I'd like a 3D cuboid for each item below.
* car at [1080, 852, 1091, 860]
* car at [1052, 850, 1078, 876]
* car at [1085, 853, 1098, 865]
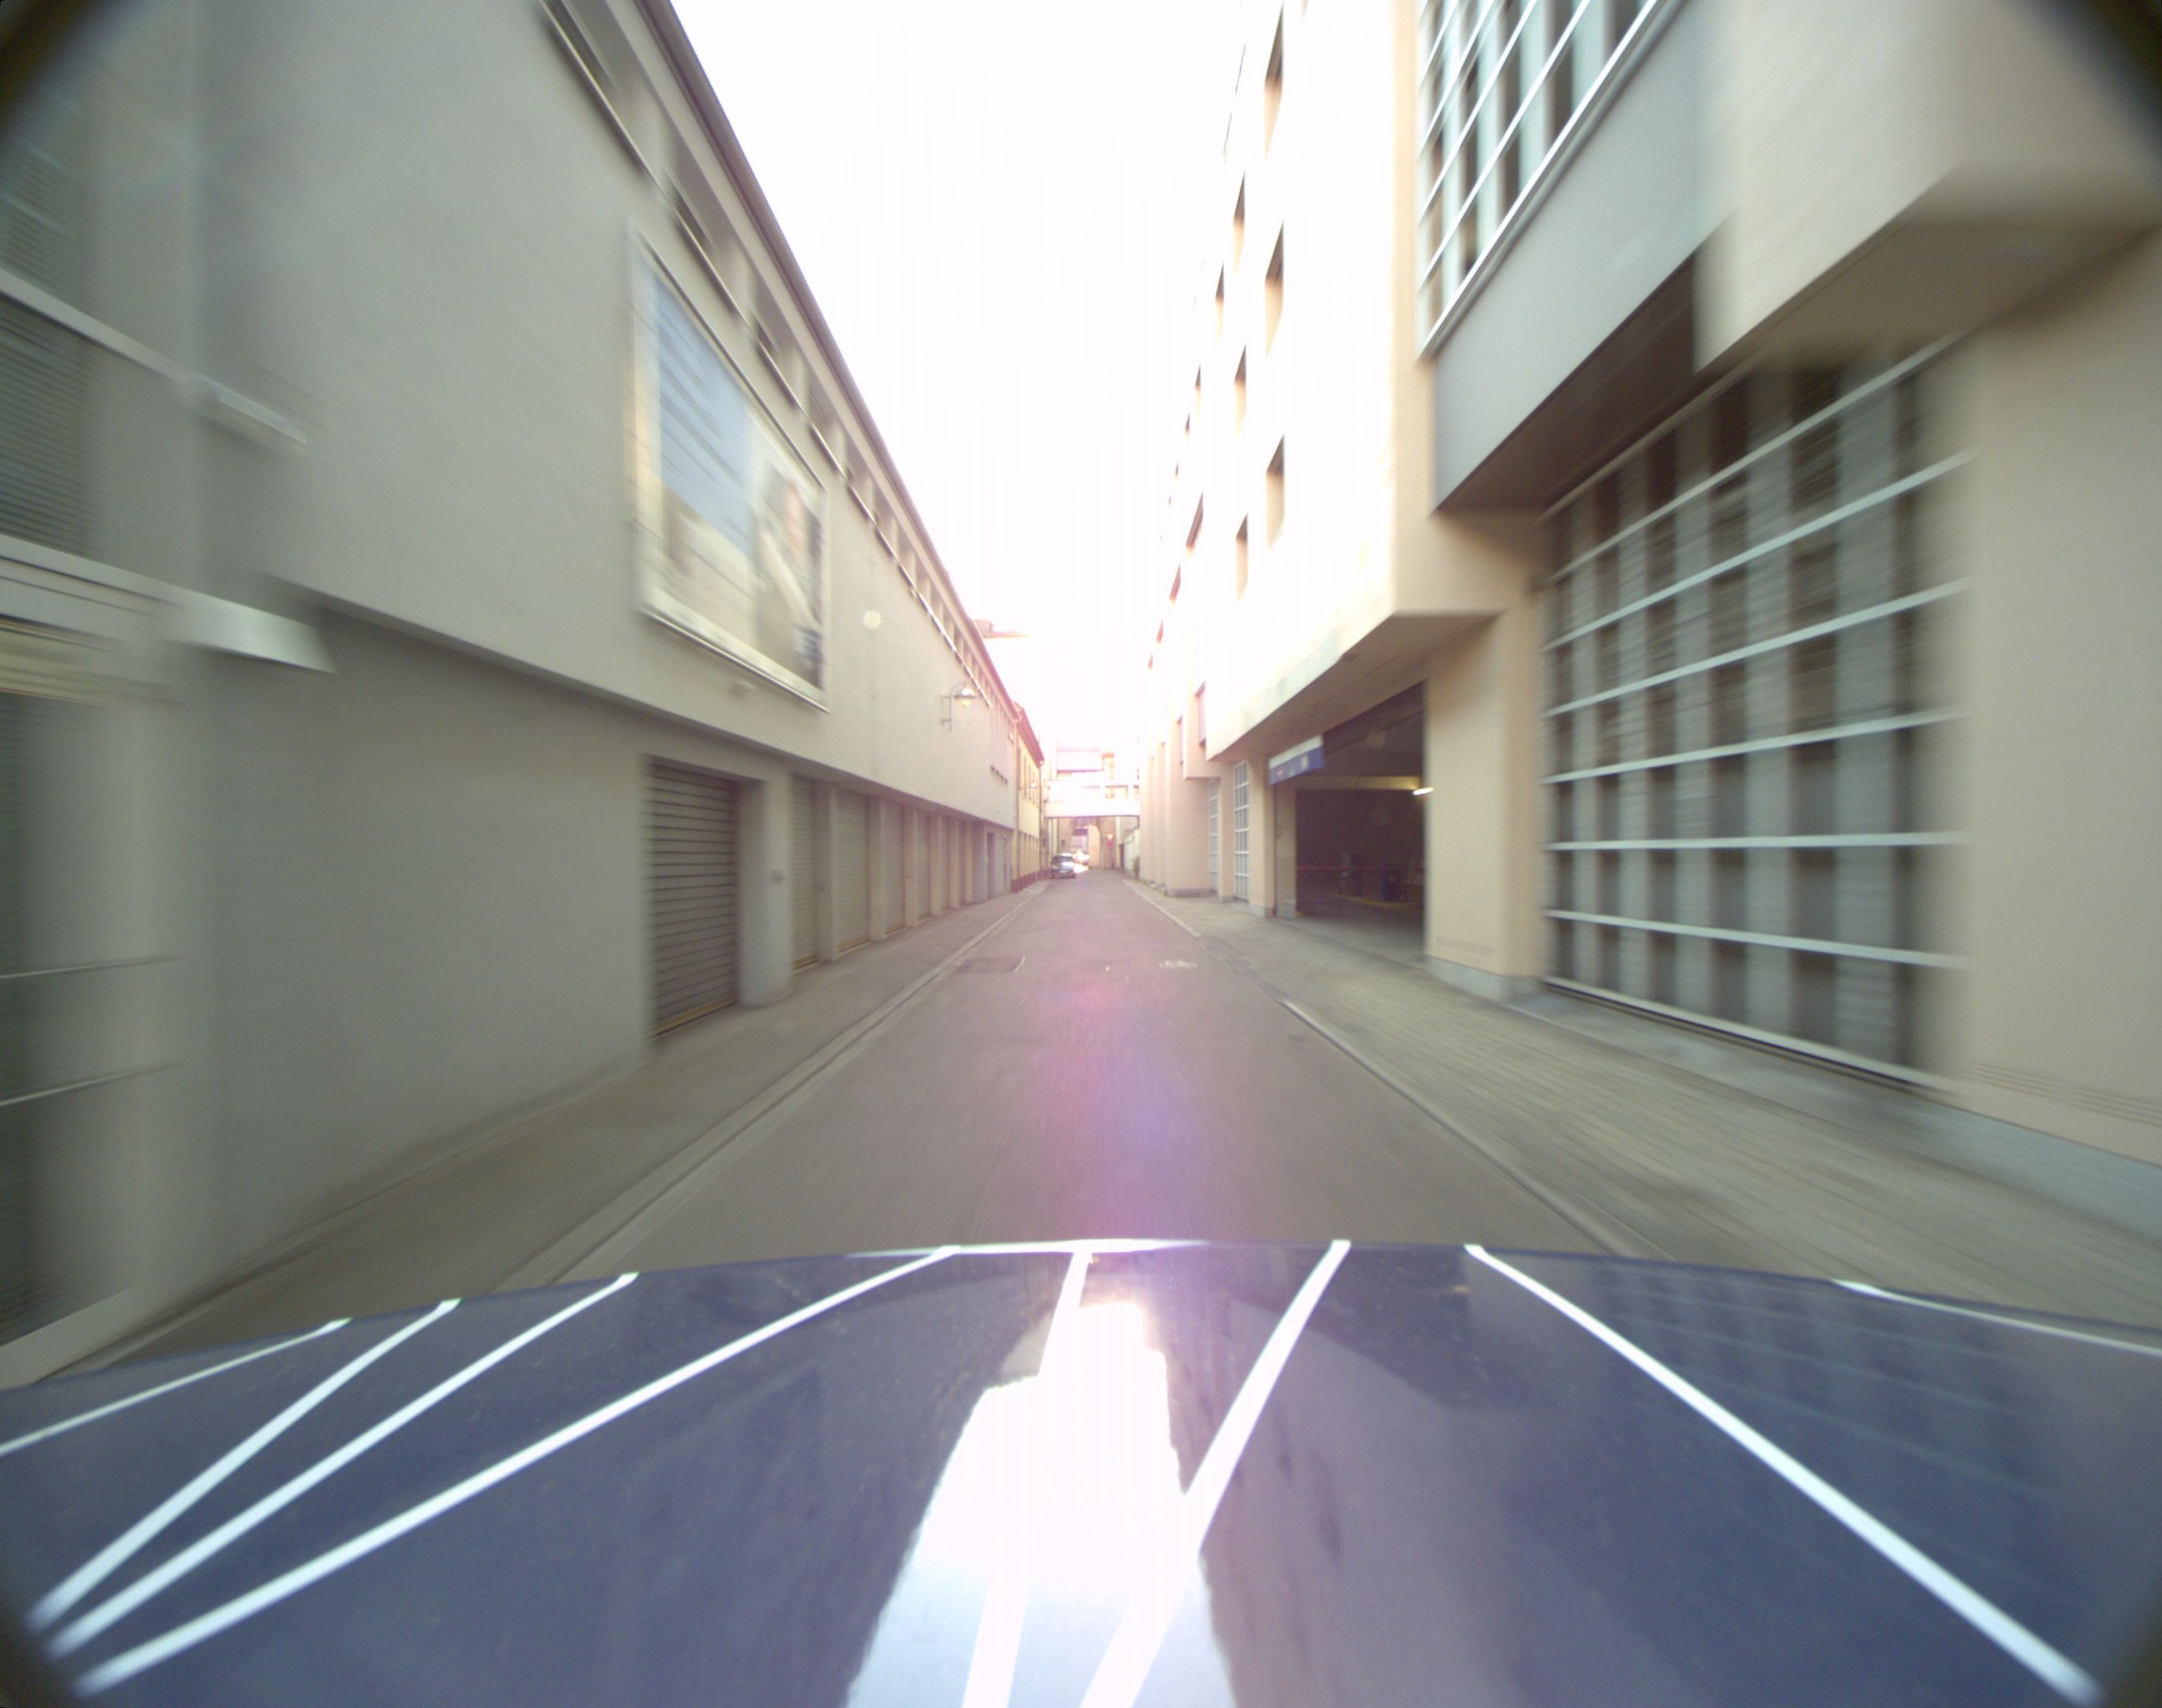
[{"bbox_3d":[0.780,0.307,139.880,1.806,1.415,3.754,-2,0,-2],"label":"car"},{"bbox_3d":[-1.126,0.643,55.905,1.764,1.756,4.750,-2,0,0],"label":"car"},{"bbox_3d":[1.622,0.855,121.132,1.999,1.805,3.999,-2,0,0],"label":"car"}]
